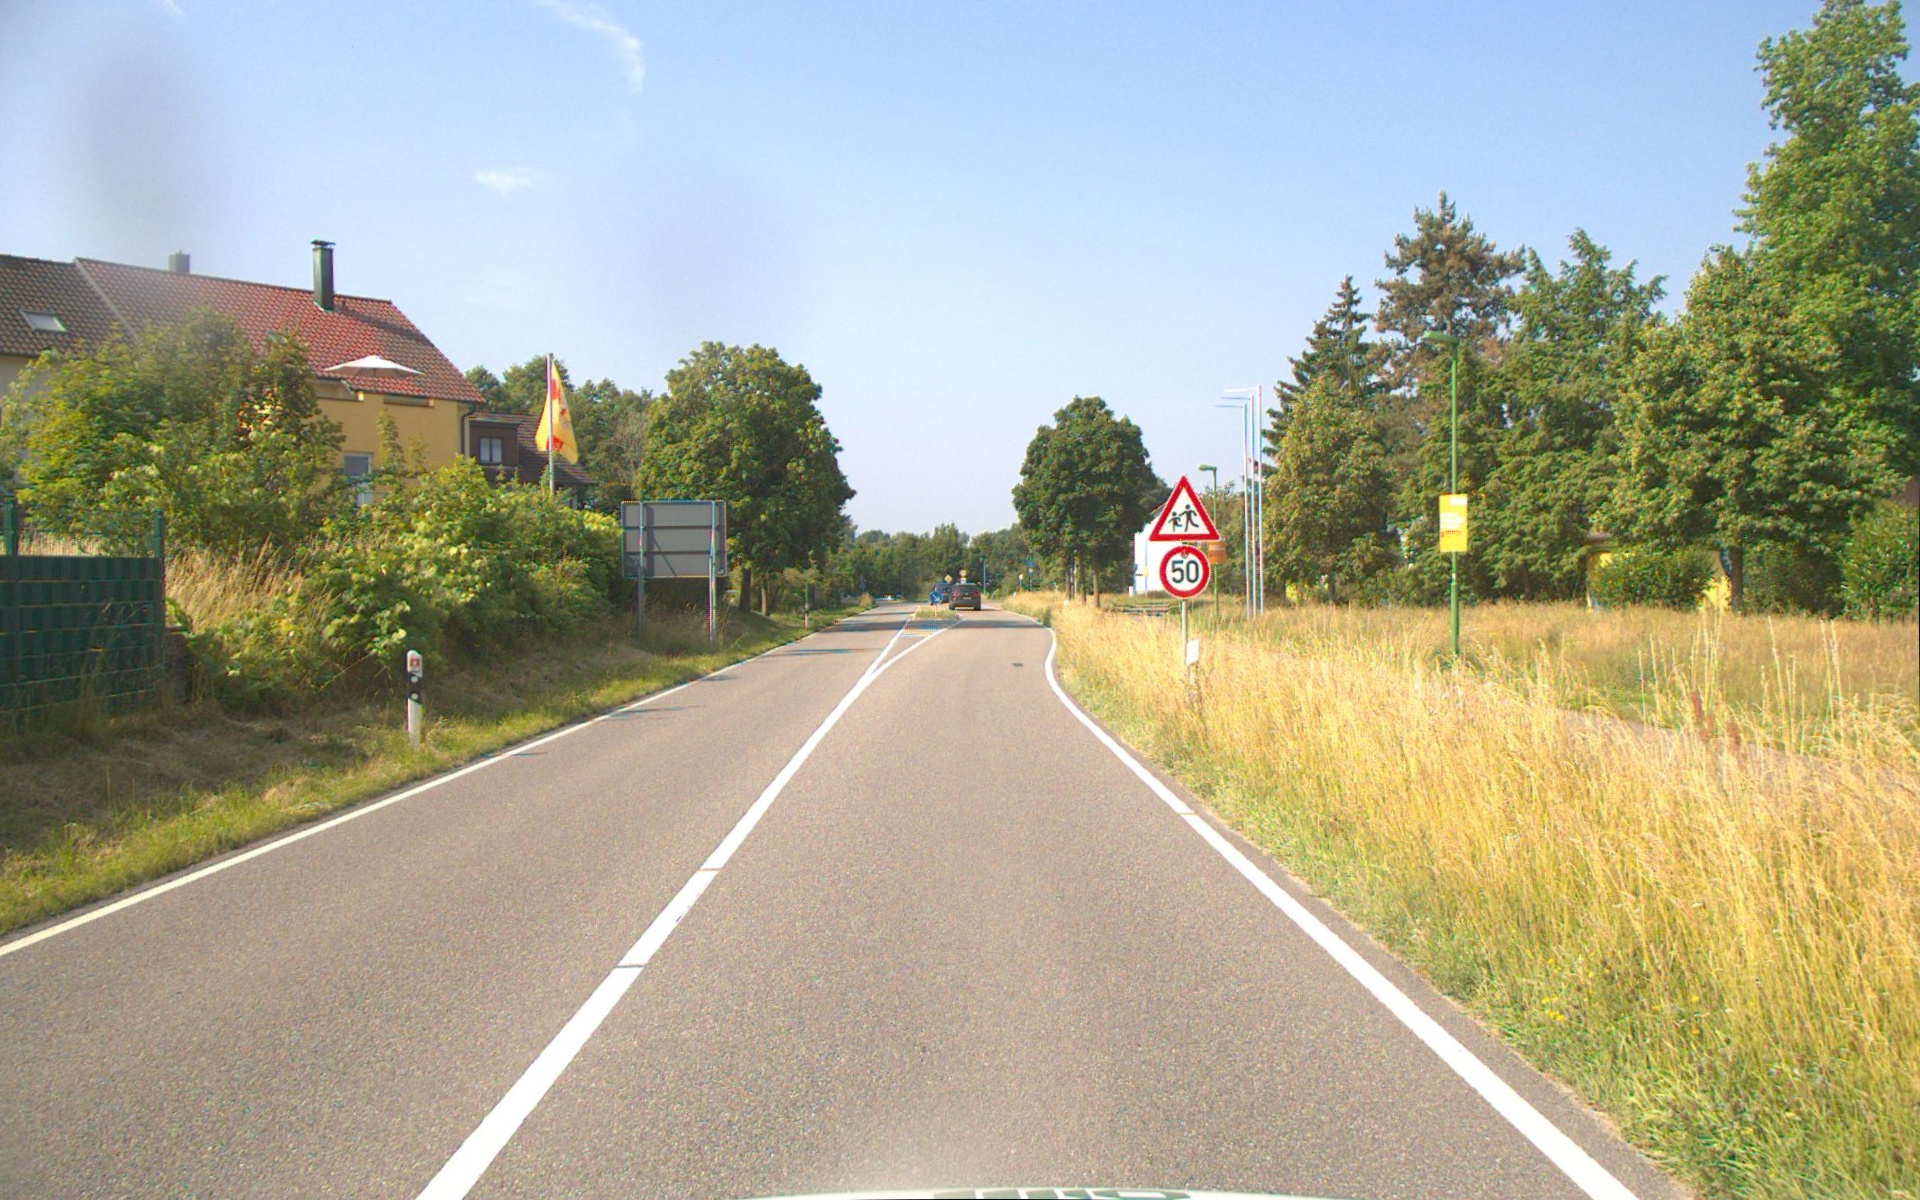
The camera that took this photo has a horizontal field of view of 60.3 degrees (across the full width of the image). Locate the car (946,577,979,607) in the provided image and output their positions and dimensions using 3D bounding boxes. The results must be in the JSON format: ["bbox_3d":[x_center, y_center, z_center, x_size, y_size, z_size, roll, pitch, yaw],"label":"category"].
[{"bbox_3d":[0.151,-0.511,104.700,1.887,1.802,3.998,-1,1,-3],"label":"car"}]

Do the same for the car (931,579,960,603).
[{"bbox_3d":[-1.120,-0.735,127.705,1.965,1.802,3.997,-1,1,-5],"label":"car"}]
